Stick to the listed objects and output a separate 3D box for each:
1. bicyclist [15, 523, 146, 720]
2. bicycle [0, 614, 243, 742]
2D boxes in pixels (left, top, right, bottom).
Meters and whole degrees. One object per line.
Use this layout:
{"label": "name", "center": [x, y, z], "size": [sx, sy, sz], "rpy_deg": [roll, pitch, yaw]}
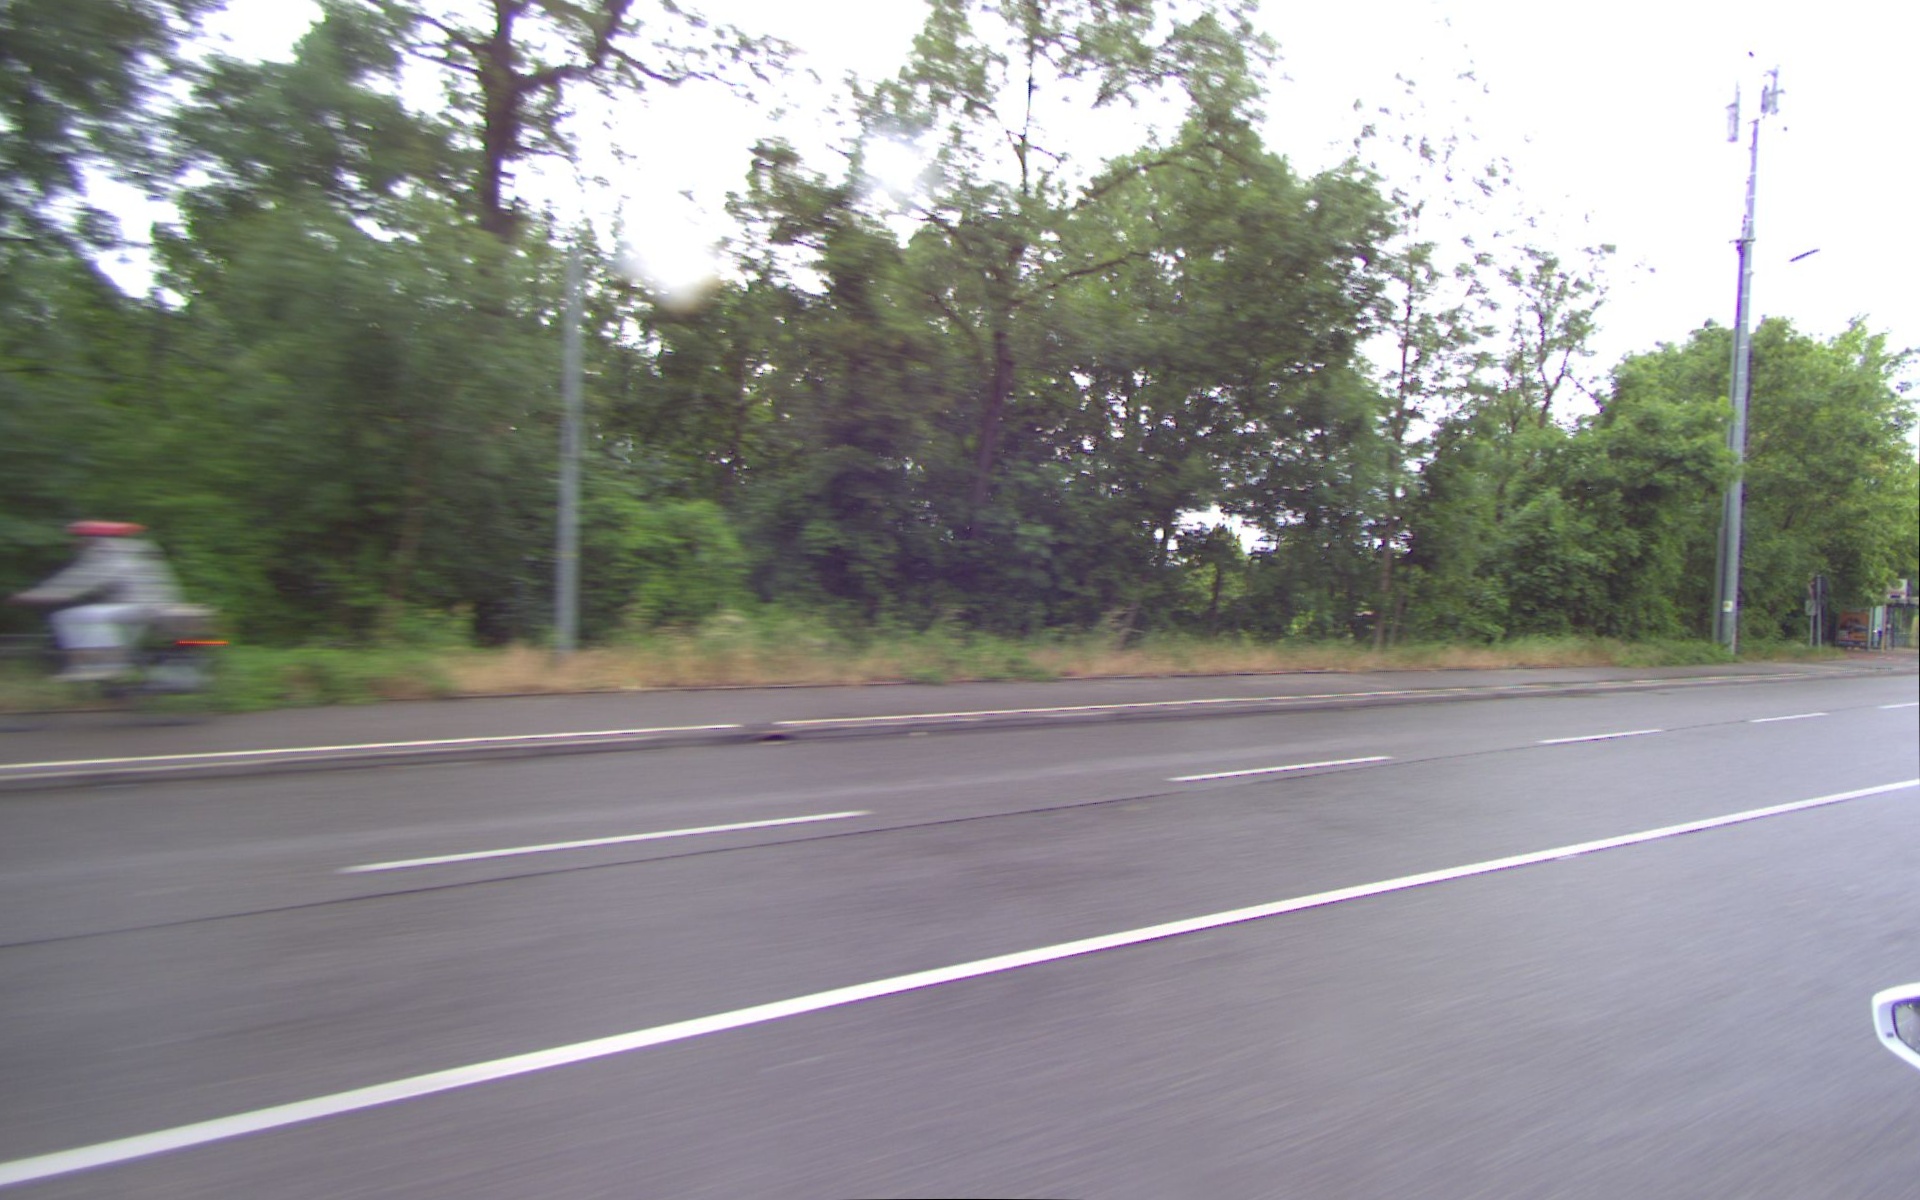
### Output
{"label": "bicyclist", "center": [-7.500, 0.181, 8.600], "size": [0.691, 1.607, 0.576], "rpy_deg": [1, -1, -28]}
{"label": "bicycle", "center": [-7.439, 0.649, 8.671], "size": [1.993, 1.017, 0.450], "rpy_deg": [1, 3, -29]}
